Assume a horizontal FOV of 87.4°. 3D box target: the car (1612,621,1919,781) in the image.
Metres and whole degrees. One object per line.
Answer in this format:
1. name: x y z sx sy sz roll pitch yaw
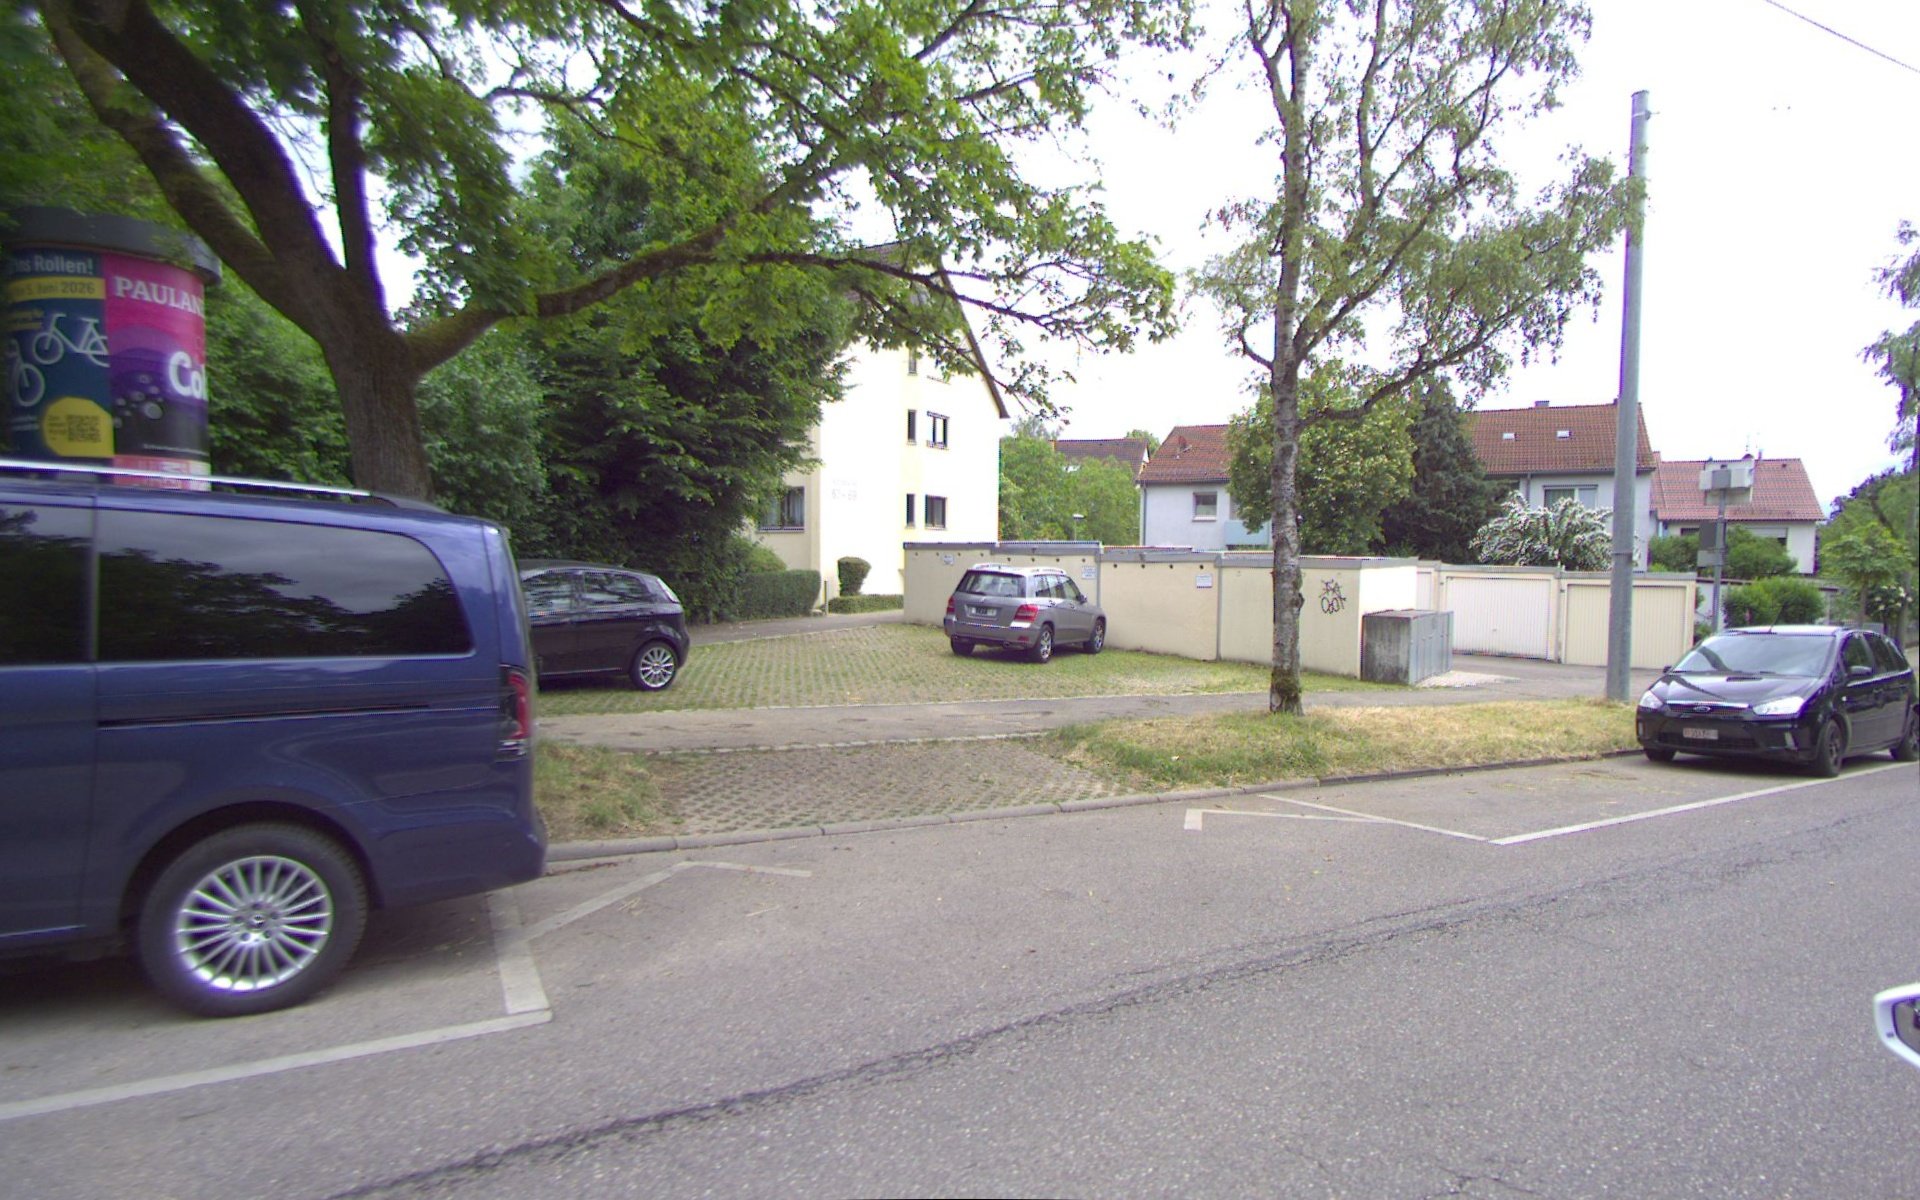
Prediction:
1. car: 9.695 1.078 11.870 4.221 1.583 1.794 2 -2 -33

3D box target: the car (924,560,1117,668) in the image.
1. car: 1.291 0.166 19.253 1.963 1.672 4.396 6 4 28

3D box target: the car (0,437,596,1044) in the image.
1. car: -4.121 0.416 3.655 5.021 1.934 1.850 2 0 -29

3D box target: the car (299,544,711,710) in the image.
1. car: -5.127 0.255 11.692 1.753 1.497 3.969 7 4 42
